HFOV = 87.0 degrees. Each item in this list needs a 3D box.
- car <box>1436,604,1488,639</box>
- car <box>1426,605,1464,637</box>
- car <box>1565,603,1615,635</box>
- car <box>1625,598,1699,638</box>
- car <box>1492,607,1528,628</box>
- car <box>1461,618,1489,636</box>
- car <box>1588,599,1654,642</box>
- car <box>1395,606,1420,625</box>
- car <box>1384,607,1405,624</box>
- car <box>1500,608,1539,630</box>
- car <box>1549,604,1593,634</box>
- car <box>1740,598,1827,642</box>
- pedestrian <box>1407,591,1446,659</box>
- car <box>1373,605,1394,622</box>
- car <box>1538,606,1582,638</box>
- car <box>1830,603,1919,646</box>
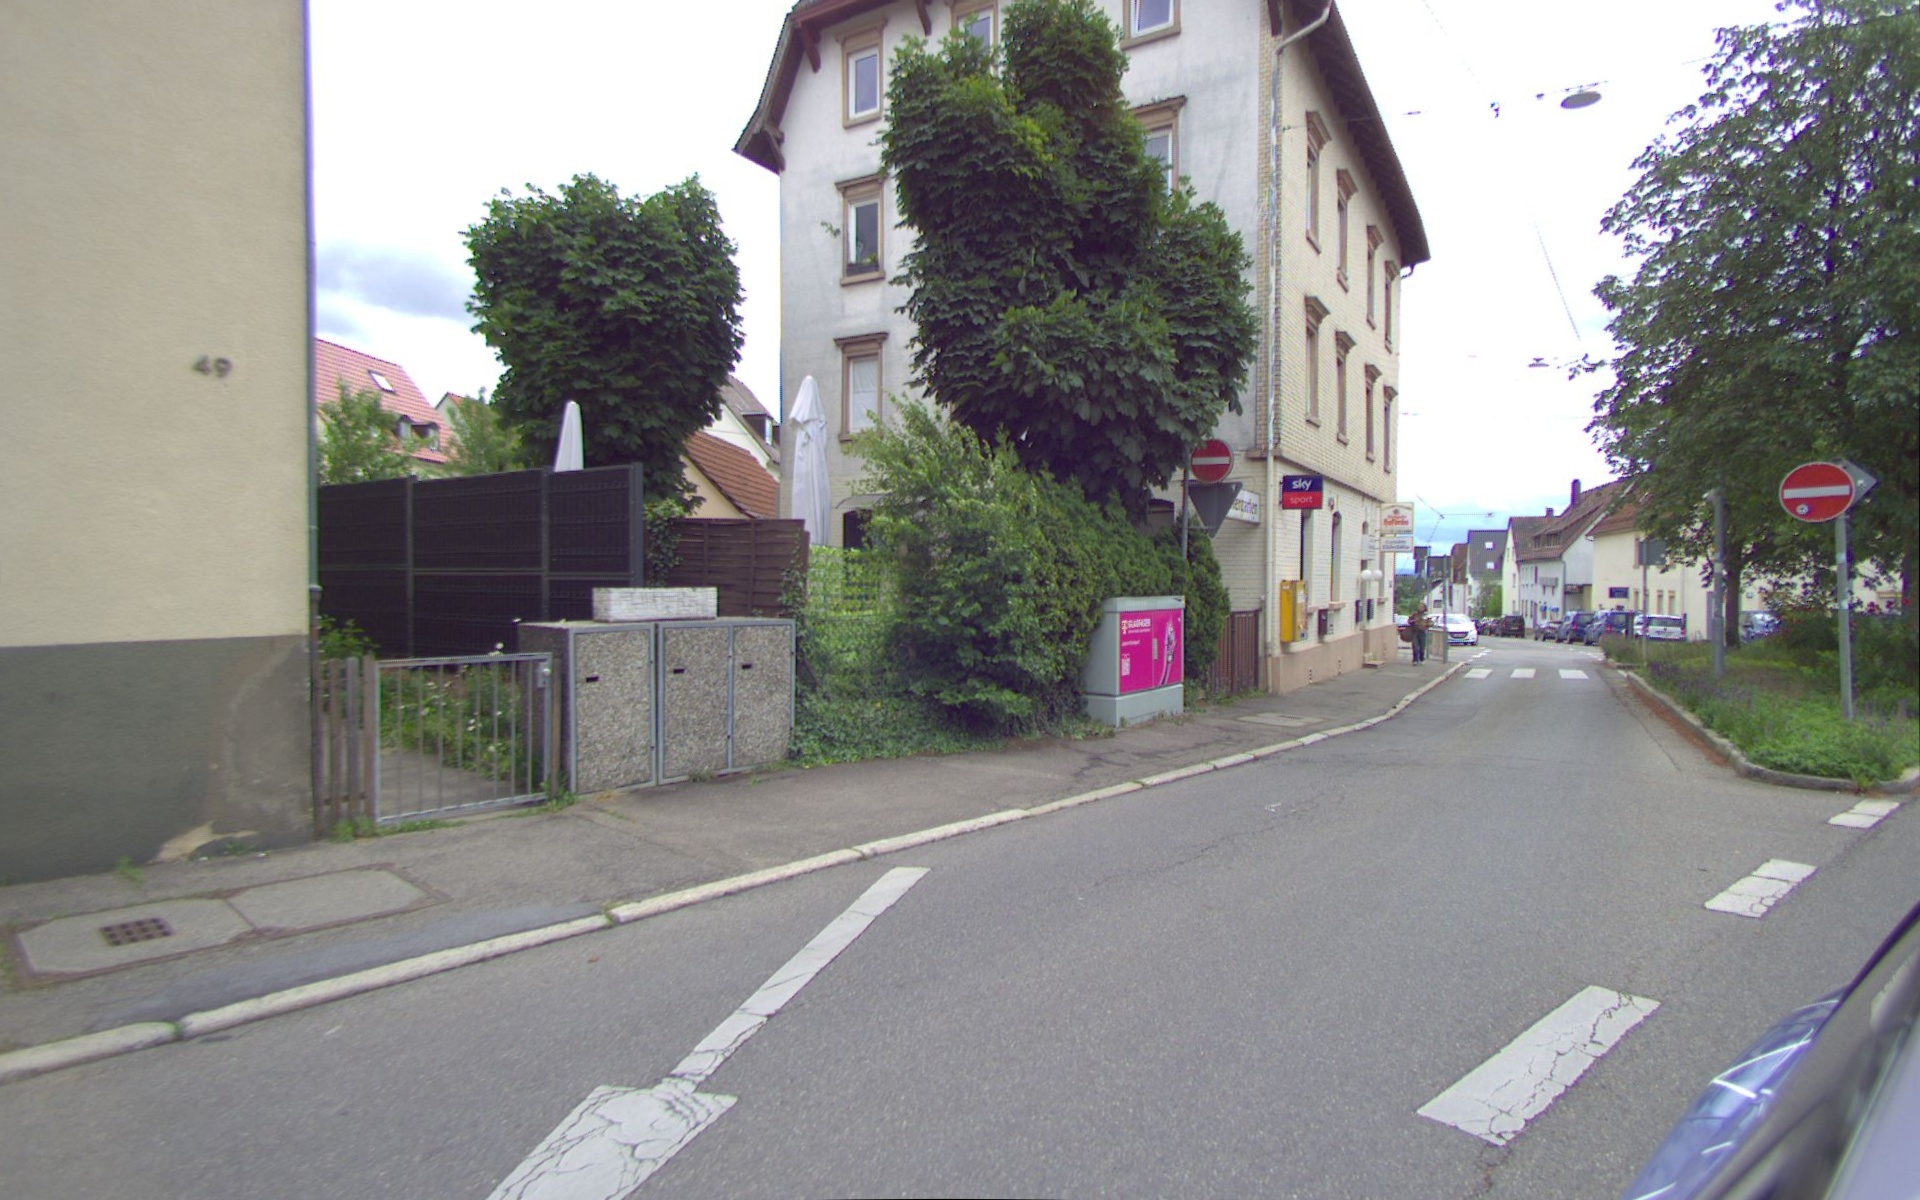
[{"bbox_3d":[23.786,1.038,48.053,1.754,1.498,3.802,4,0,21],"label":"car"},{"bbox_3d":[25.296,1.073,52.871,1.609,1.493,3.740,1,1,23],"label":"car"},{"bbox_3d":[35.681,1.108,57.415,1.702,1.753,3.969,0,-2,22],"label":"car"},{"bbox_3d":[30.911,0.806,44.671,1.753,1.639,3.971,0,-2,21],"label":"car"},{"bbox_3d":[47.299,1.556,87.050,2.255,1.753,3.969,0,-2,22],"label":"car"},{"bbox_3d":[53.580,2.814,105.329,2.255,1.753,3.969,0,-2,22],"label":"car"},{"bbox_3d":[33.081,1.043,50.756,1.754,1.968,4.293,3,0,21],"label":"car"},{"bbox_3d":[38.925,1.372,88.076,1.854,1.616,3.870,0,-2,22],"label":"car"},{"bbox_3d":[45.166,1.628,105.209,1.854,1.616,3.870,0,-2,22],"label":"car"},{"bbox_3d":[45.087,1.535,81.620,2.255,1.753,3.969,0,-2,22],"label":"car"},{"bbox_3d":[37.691,1.194,62.529,1.702,1.753,3.969,0,-2,22],"label":"car"},{"bbox_3d":[36.174,0.897,44.599,1.883,1.826,4.847,0,-2,26],"label":"car"},{"bbox_3d":[12.250,0.649,26.570,0.853,1.755,1.011,0,-2,30],"label":"pedestrian"},{"bbox_3d":[42.027,1.359,100.432,1.854,1.616,3.870,0,-2,22],"label":"car"},{"bbox_3d":[39.476,1.452,66.658,1.978,2.040,3.967,0,-2,23],"label":"car"},{"bbox_3d":[39.690,1.071,43.789,1.847,1.750,3.970,0,-2,22],"label":"car"}]
